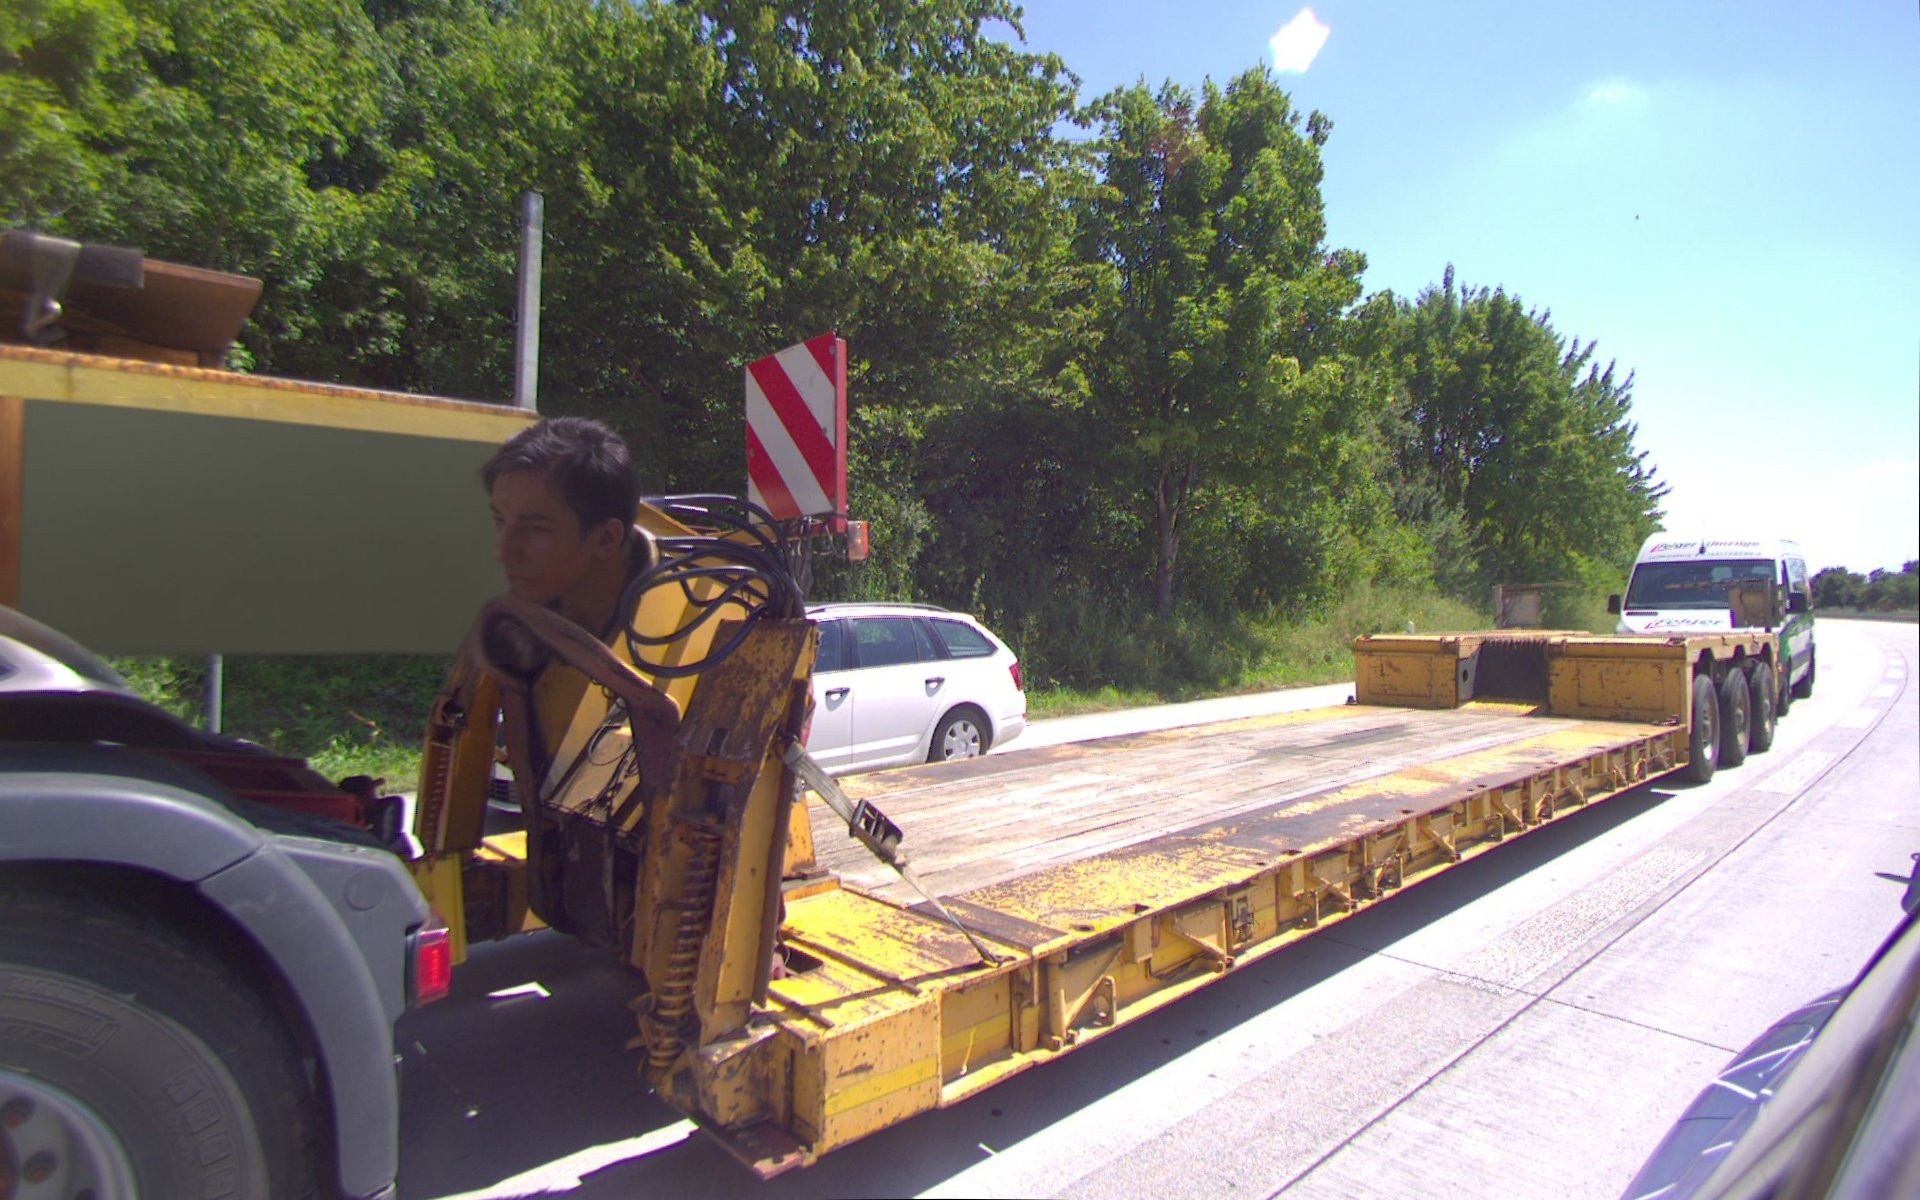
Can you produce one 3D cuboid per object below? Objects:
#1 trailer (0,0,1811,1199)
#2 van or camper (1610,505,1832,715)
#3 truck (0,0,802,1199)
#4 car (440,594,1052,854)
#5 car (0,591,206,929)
[{"bbox_3d":[1.833,0.111,6.181,16.076,2.626,3.031,0,0,-42],"label":"trailer"},{"bbox_3d":[11.730,0.089,15.396,2.063,2.606,5.815,0,0,43],"label":"van or camper"},{"bbox_3d":[-4.055,-0.499,0.830,7.342,3.820,3.017,0,0,-42],"label":"truck"},{"bbox_3d":[-1.431,0.705,8.043,4.521,1.480,1.769,-1,0,-43],"label":"car"},{"bbox_3d":[-5.847,0.716,4.148,4.290,1.480,1.770,-1,0,-42],"label":"car"}]
